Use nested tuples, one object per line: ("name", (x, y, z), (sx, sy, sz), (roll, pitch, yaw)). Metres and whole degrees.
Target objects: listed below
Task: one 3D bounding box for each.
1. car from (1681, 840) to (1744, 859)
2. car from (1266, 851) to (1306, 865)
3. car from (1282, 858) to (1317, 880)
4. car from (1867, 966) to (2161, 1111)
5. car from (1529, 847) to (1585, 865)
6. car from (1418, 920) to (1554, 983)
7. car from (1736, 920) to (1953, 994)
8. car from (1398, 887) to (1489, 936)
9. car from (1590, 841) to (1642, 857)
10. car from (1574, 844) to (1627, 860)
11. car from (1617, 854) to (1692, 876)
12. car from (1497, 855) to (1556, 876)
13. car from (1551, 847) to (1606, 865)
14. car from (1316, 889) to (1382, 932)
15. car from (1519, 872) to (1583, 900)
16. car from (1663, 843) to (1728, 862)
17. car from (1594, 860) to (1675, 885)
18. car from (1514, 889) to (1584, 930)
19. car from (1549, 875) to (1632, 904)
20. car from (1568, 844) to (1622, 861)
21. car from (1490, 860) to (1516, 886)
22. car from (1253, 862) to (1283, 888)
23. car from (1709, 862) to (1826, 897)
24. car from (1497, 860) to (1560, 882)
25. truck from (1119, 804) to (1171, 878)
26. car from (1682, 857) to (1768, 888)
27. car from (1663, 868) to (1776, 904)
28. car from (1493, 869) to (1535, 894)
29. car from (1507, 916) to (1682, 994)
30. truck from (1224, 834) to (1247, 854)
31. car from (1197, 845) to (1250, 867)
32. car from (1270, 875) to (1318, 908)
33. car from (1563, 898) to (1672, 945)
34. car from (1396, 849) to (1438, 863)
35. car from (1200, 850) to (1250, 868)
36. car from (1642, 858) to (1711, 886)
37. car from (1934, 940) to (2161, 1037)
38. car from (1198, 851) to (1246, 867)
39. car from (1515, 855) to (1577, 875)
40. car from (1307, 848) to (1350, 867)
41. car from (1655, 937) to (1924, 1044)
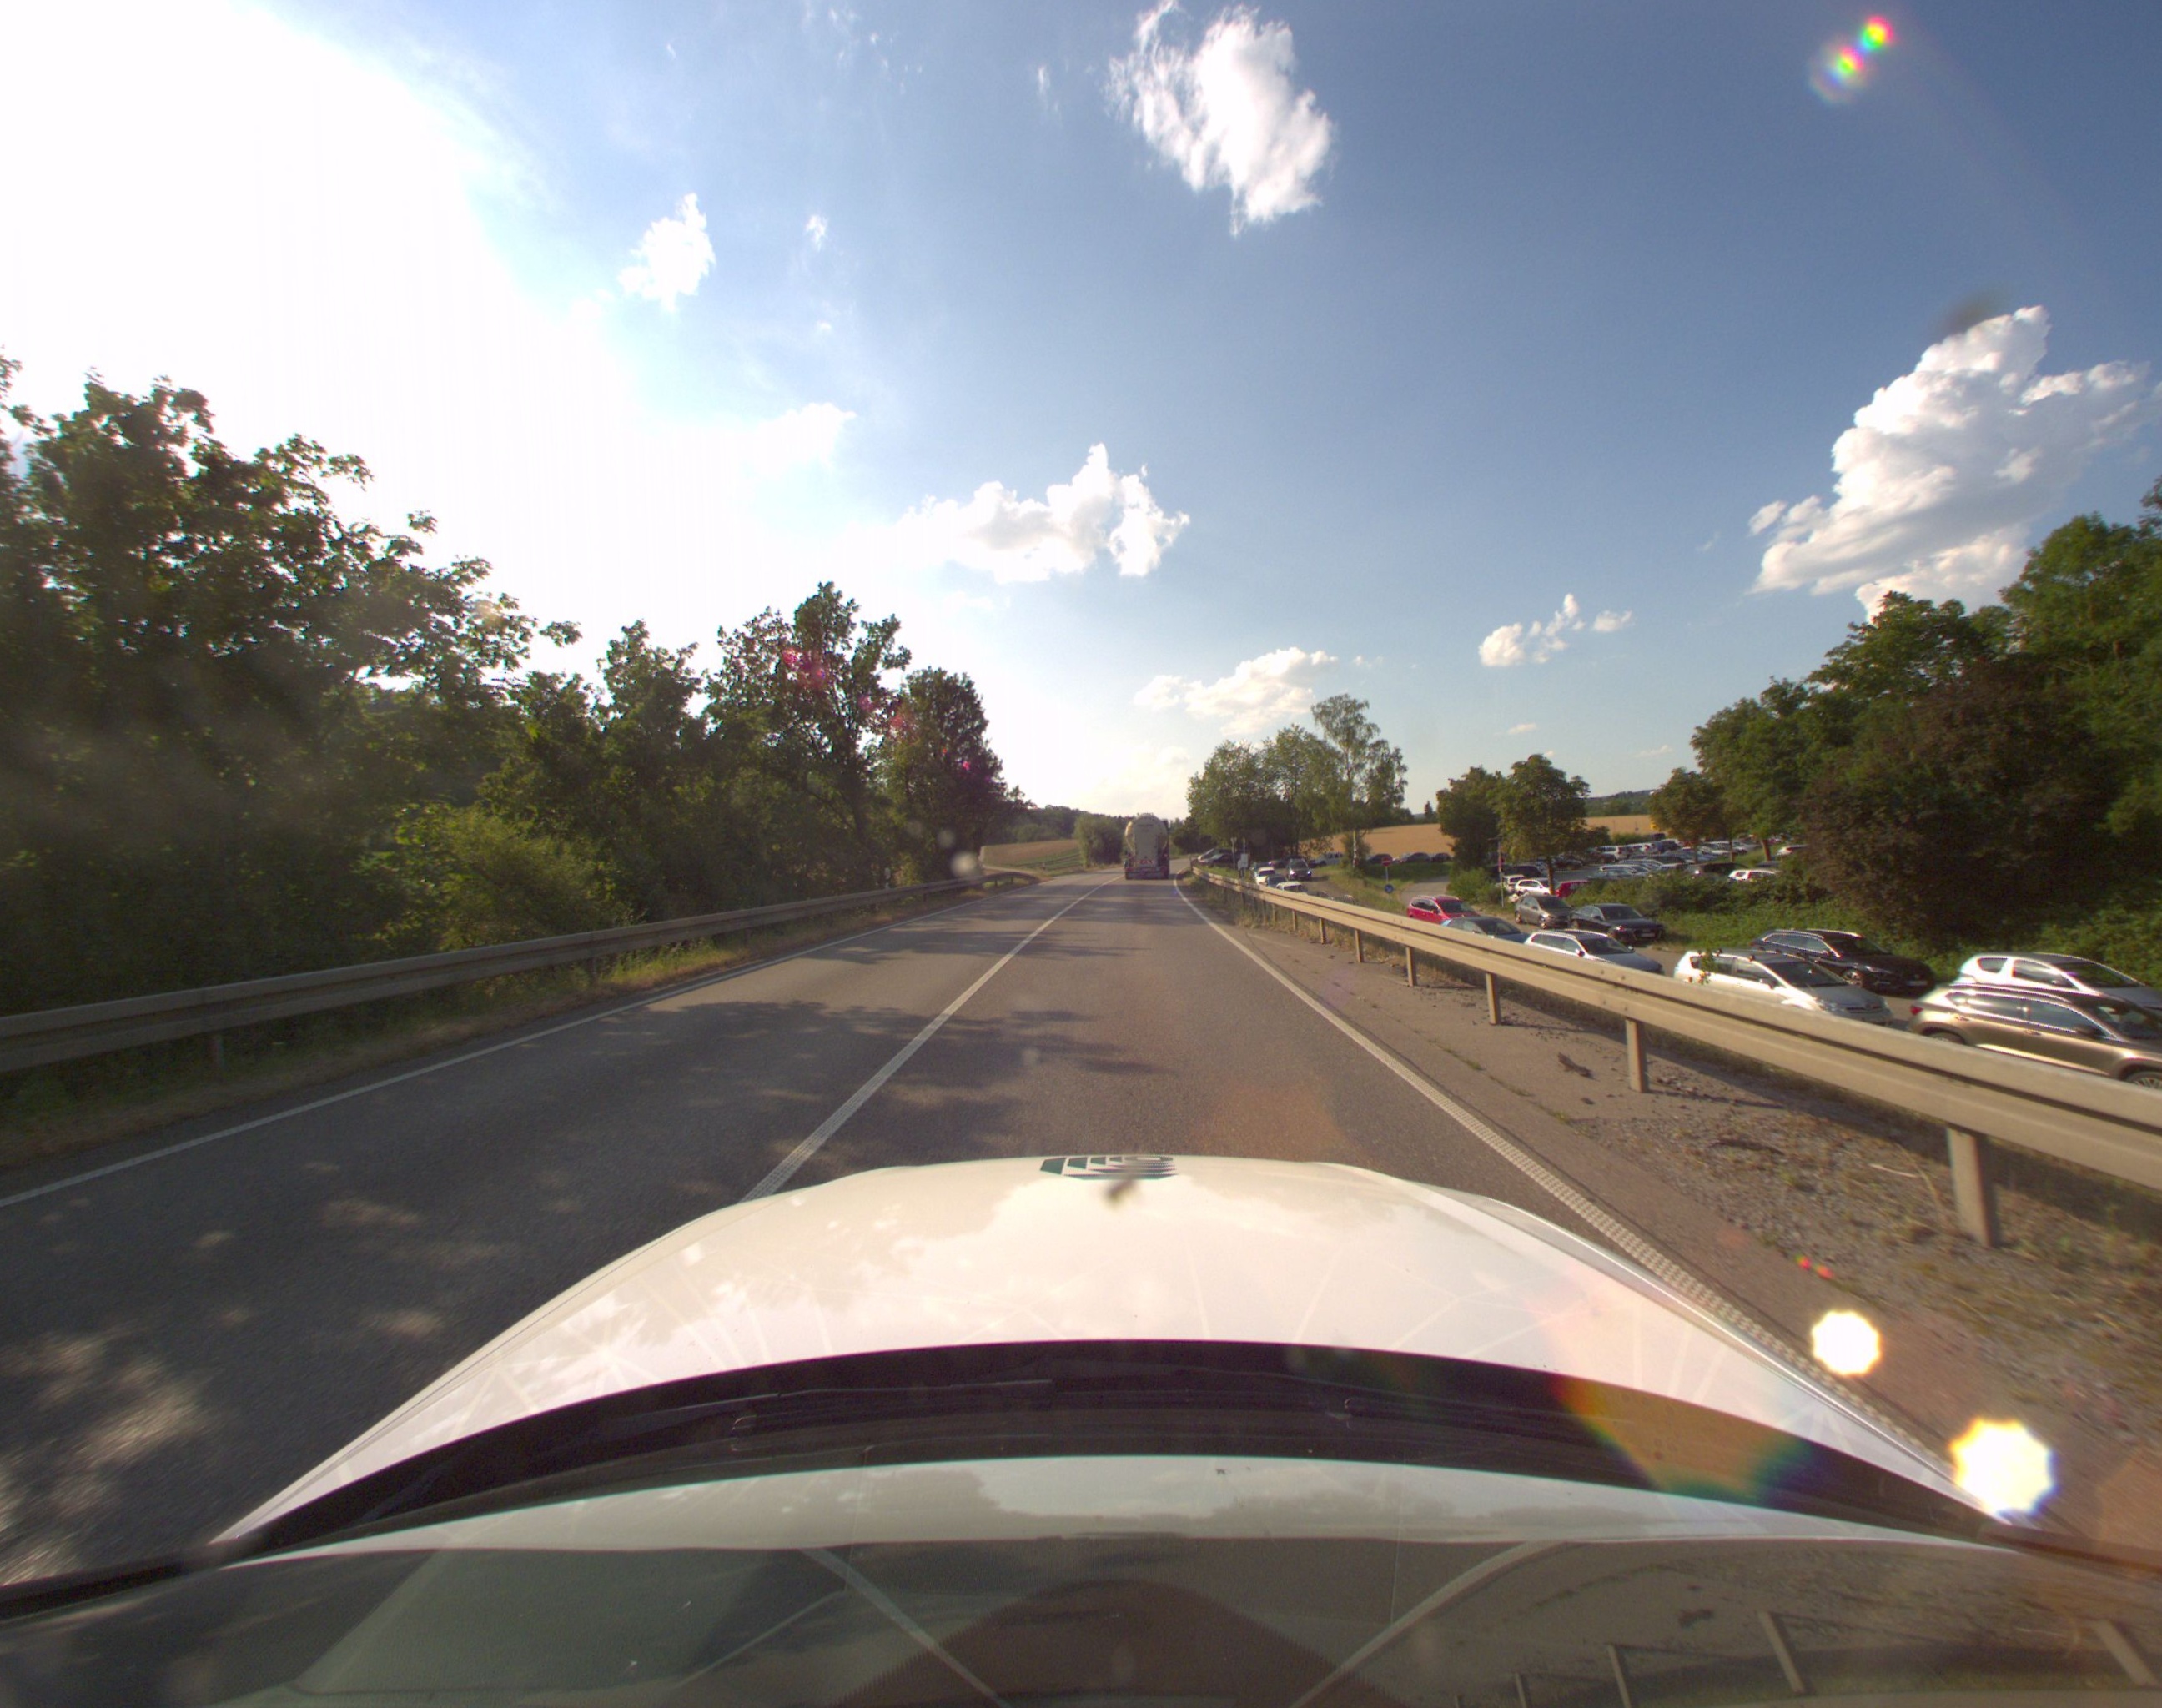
("car", (61.106, -0.425, 78.871), (1.813, 1.691, 4.543), (-2, 0, -39))
("car", (21.571, 0.370, 85.907), (3.729, 1.441, 1.800), (0, 0, -19))
("car", (18.028, 1.181, 67.350), (1.883, 1.675, 4.789), (-2, 0, 5))
("car", (16.943, 3.076, 13.989), (1.892, 1.559, 4.766), (0, 1, -10))
("car", (48.084, 0.244, 82.315), (1.813, 1.691, 4.543), (-2, 0, -39))
("car", (14.972, 3.560, 30.486), (1.894, 1.559, 4.761), (-6, 2, -13))
("car", (21.886, 2.896, 23.677), (1.696, 1.398, 4.783), (-5, 0, -1))
("car", (17.115, 2.656, 38.752), (1.886, 1.686, 5.085), (-5, 2, -1))
("car", (60.382, -0.531, 91.996), (1.813, 1.691, 4.543), (-2, 0, -39))
("car", (57.428, -0.215, 90.040), (1.813, 1.691, 4.543), (-2, 0, -39))
("car", (45.806, 0.891, 65.131), (1.813, 1.691, 4.543), (-2, 0, -39))
("car", (40.214, 1.054, 73.536), (4.537, 1.691, 1.815), (-2, 0, 31))
("car", (52.347, 0.227, 85.714), (1.813, 1.691, 4.543), (-2, 0, -39))
("car", (13.725, 2.844, 41.951), (1.885, 1.559, 4.786), (-5, 2, 2))
("car", (30.182, 2.043, 52.434), (1.792, 1.543, 4.000), (-2, 0, 0))
("car", (57.329, -0.132, 76.011), (1.813, 1.691, 4.543), (-2, 0, -39))
("car", (39.879, 1.298, 58.834), (1.806, 1.691, 4.560), (-2, 0, -24))
("car", (22.587, 2.640, 39.476), (1.690, 1.398, 4.115), (-5, 2, 12))
("car", (29.946, 2.076, 47.963), (3.738, 1.543, 1.660), (-2, 0, 13))
("car", (55.411, -0.177, 87.786), (1.813, 1.691, 4.543), (-2, 0, -39))
("car", (33.840, 1.526, 65.286), (1.781, 1.842, 4.625), (-2, 0, 27))
("car", (14.758, 1.655, 64.329), (1.880, 1.559, 4.796), (-5, 2, 9))
("car", (36.692, 1.323, 43.663), (1.801, 1.691, 4.573), (-2, 0, -15))
("car", (37.889, 1.431, 69.003), (4.537, 1.691, 1.815), (-2, 0, 31))
("truck", (4.336, -0.787, 53.315), (2.878, 4.142, 13.193), (-1, 0, 6))
("car", (40.501, 1.130, 51.263), (4.130, 1.753, 1.814), (-2, 0, -6))
("car", (33.823, 1.660, 43.305), (1.801, 1.691, 4.573), (-2, 0, -15))
("car", (31.169, 1.949, 58.721), (1.676, 1.486, 4.309), (-2, 1, 15))
("car", (15.715, 3.030, 25.303), (1.891, 1.559, 4.769), (-5, 2, -8))
("truck", (33.957, -2.298, 178.821), (3.158, 4.227, 13.235), (-2, 1, 18))
("car", (14.379, 0.188, 82.275), (5.114, 1.943, 1.979), (3, 1, 6))
("car", (13.808, 2.399, 53.000), (1.885, 1.559, 4.786), (-5, 2, 2))
("car", (22.059, 2.727, 33.748), (1.692, 1.398, 4.793), (-5, 0, 6))
("car", (36.862, 0.211, 89.360), (4.603, 1.441, 1.794), (0, 0, -29))
("car", (13.416, 0.510, 75.794), (4.330, 1.509, 1.708), (2, 1, -24))
("car", (39.981, 1.194, 54.684), (4.148, 1.671, 1.644), (-2, 0, -18))
("car", (22.248, 2.914, 18.356), (1.698, 1.398, 3.939), (-5, 0, -4))
("car", (13.588, 0.506, 78.574), (4.326, 1.399, 1.709), (2, 1, -21))
("car", (42.593, 1.051, 74.730), (1.813, 1.691, 4.543), (-2, 0, -39))
("car", (26.702, 0.360, 87.828), (4.218, 1.747, 1.799), (-3, 1, -20))
("car", (16.518, 3.080, 19.414), (1.891, 1.559, 4.770), (-3, 1, -8))
